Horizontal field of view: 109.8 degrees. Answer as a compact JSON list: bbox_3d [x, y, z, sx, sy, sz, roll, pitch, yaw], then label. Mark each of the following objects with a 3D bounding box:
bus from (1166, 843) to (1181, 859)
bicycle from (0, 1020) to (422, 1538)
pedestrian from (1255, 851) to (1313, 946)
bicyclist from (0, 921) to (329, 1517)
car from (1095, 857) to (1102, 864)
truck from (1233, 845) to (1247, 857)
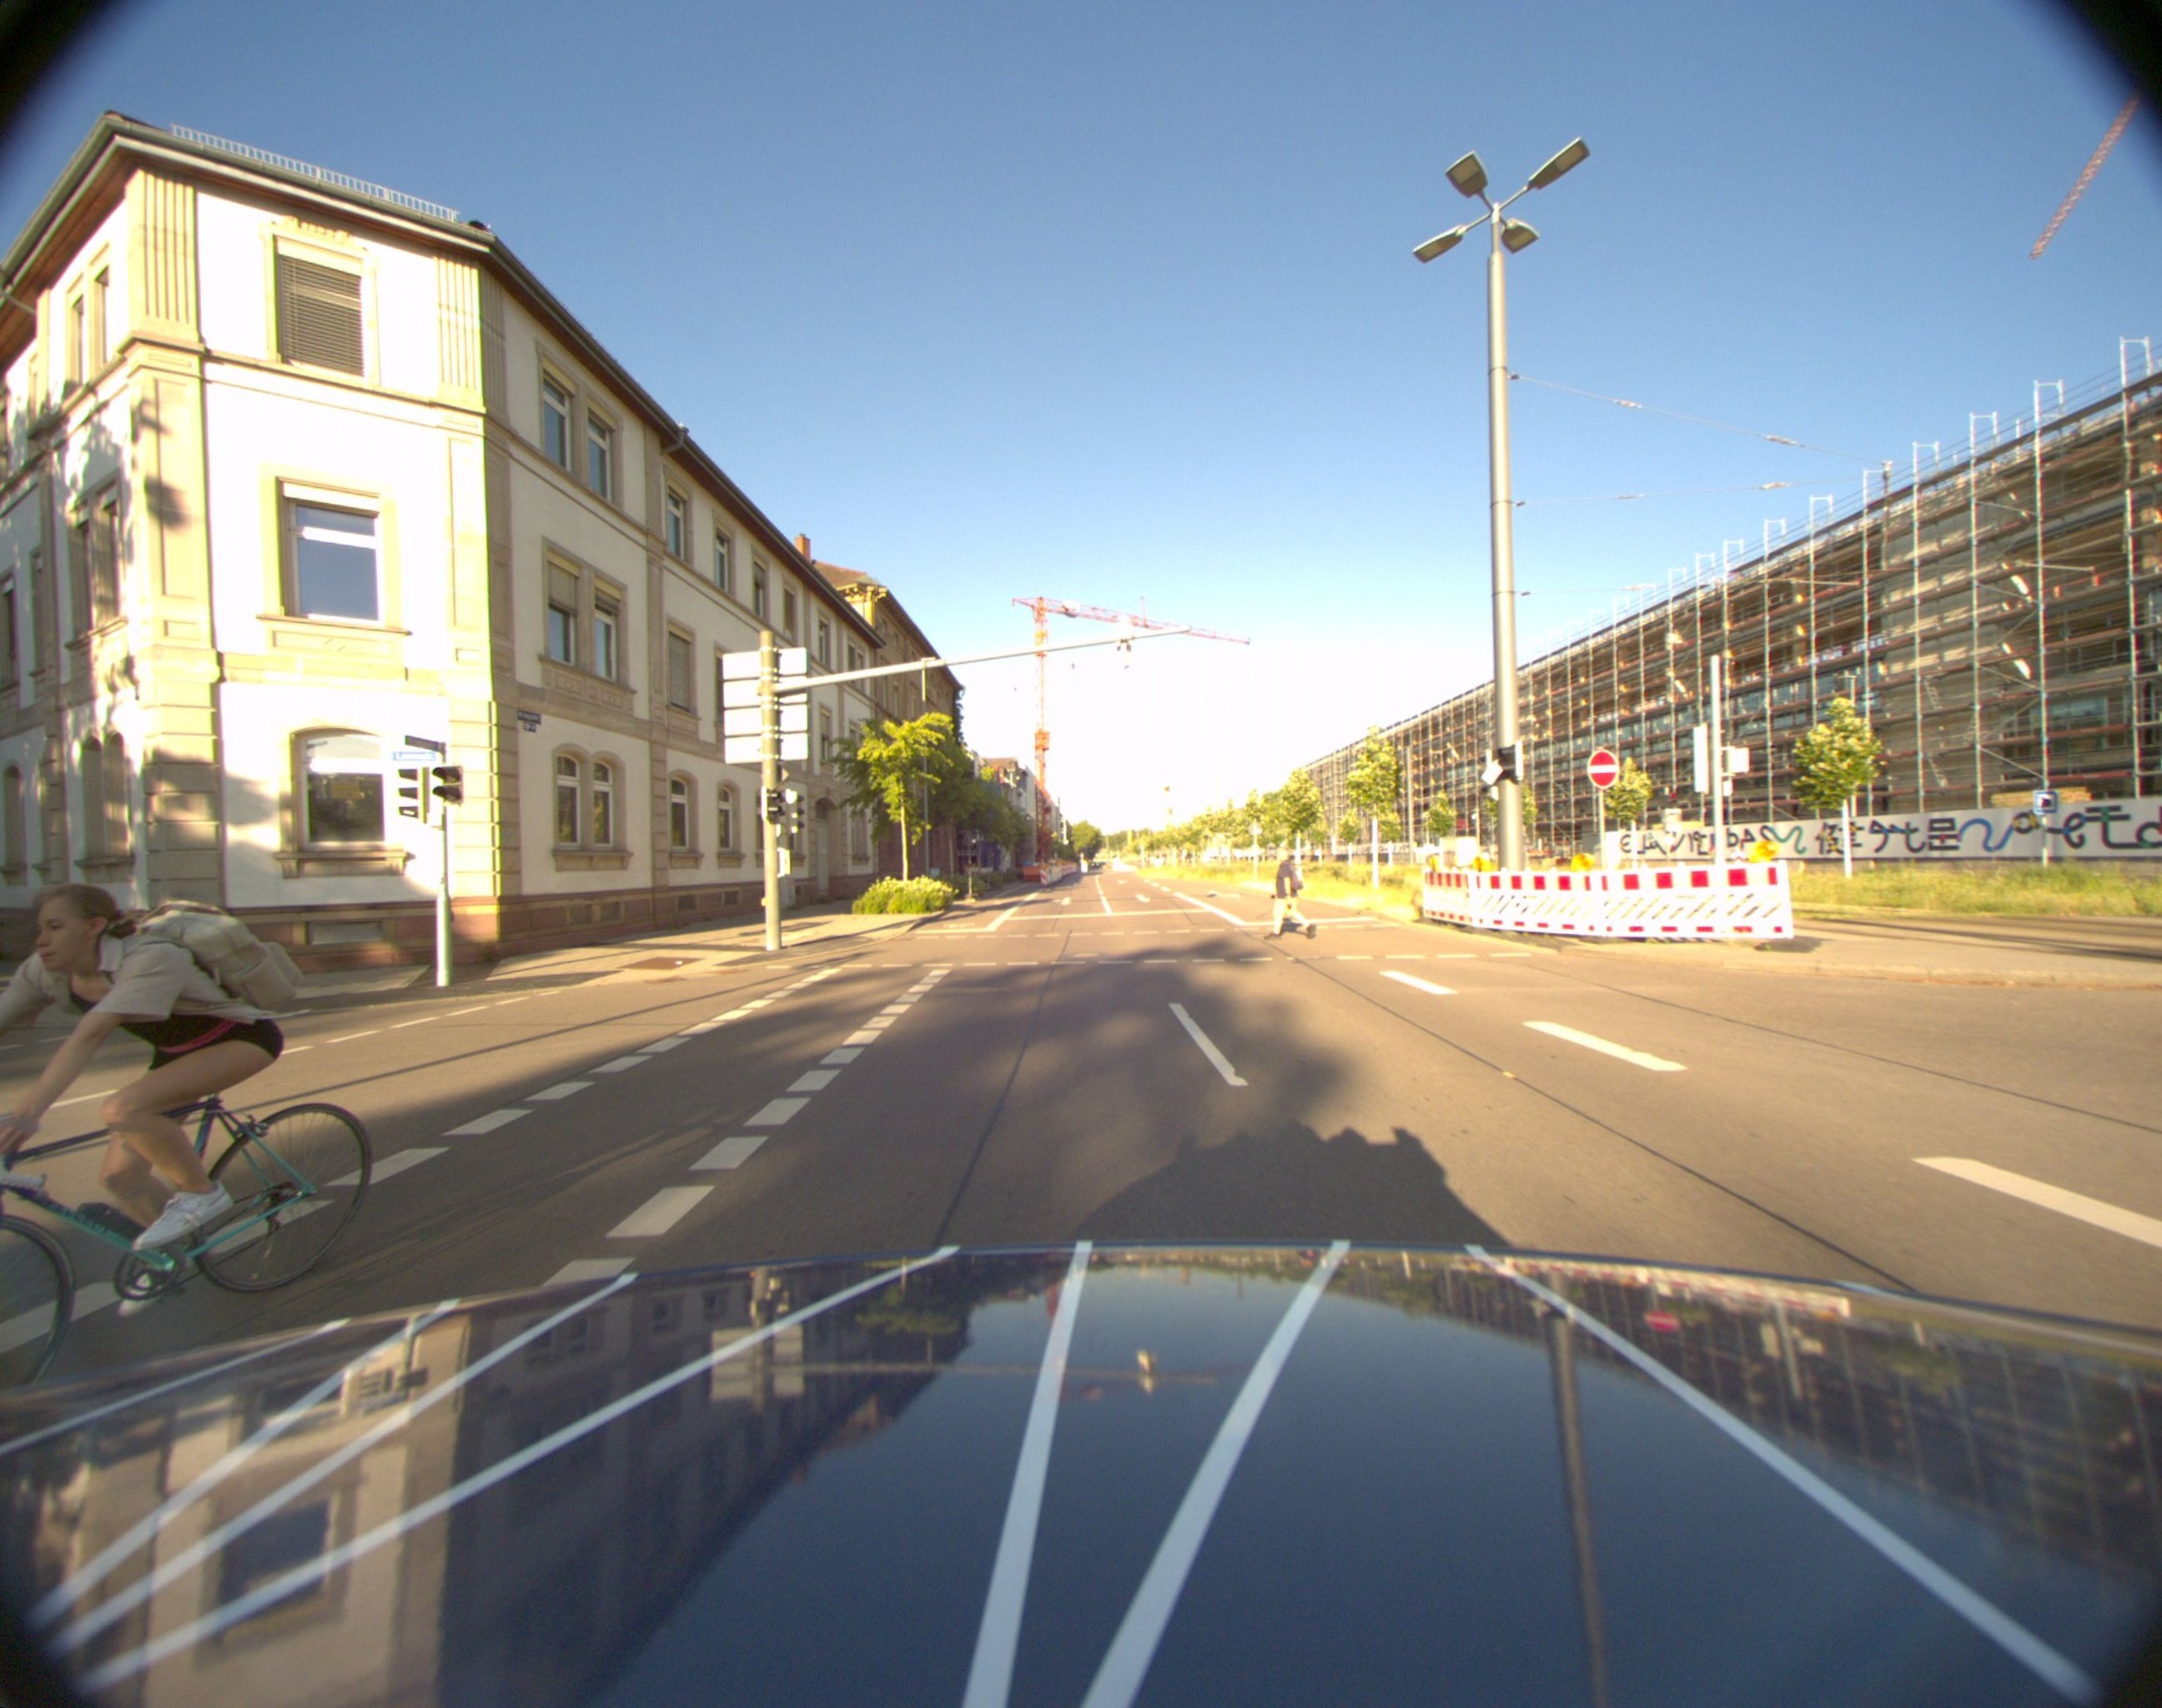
[{"bbox_3d":[19.517,-0.529,160.061,2.723,3.203,8.659,-1,0,5],"label":"bus"},{"bbox_3d":[-3.097,1.254,2.315,0.522,1.091,1.843,-1,0,1],"label":"bicycle"},{"bbox_3d":[3.625,0.779,13.628,0.926,1.639,0.766,-1,1,10],"label":"pedestrian"},{"bbox_3d":[-3.100,0.992,2.282,0.553,1.482,1.081,-1,0,1],"label":"bicyclist"},{"bbox_3d":[4.594,1.802,199.513,1.998,1.696,4.000,-2,0,1],"label":"car"},{"bbox_3d":[36.050,-0.606,172.382,2.143,2.559,4.741,-1,0,3],"label":"truck"}]
